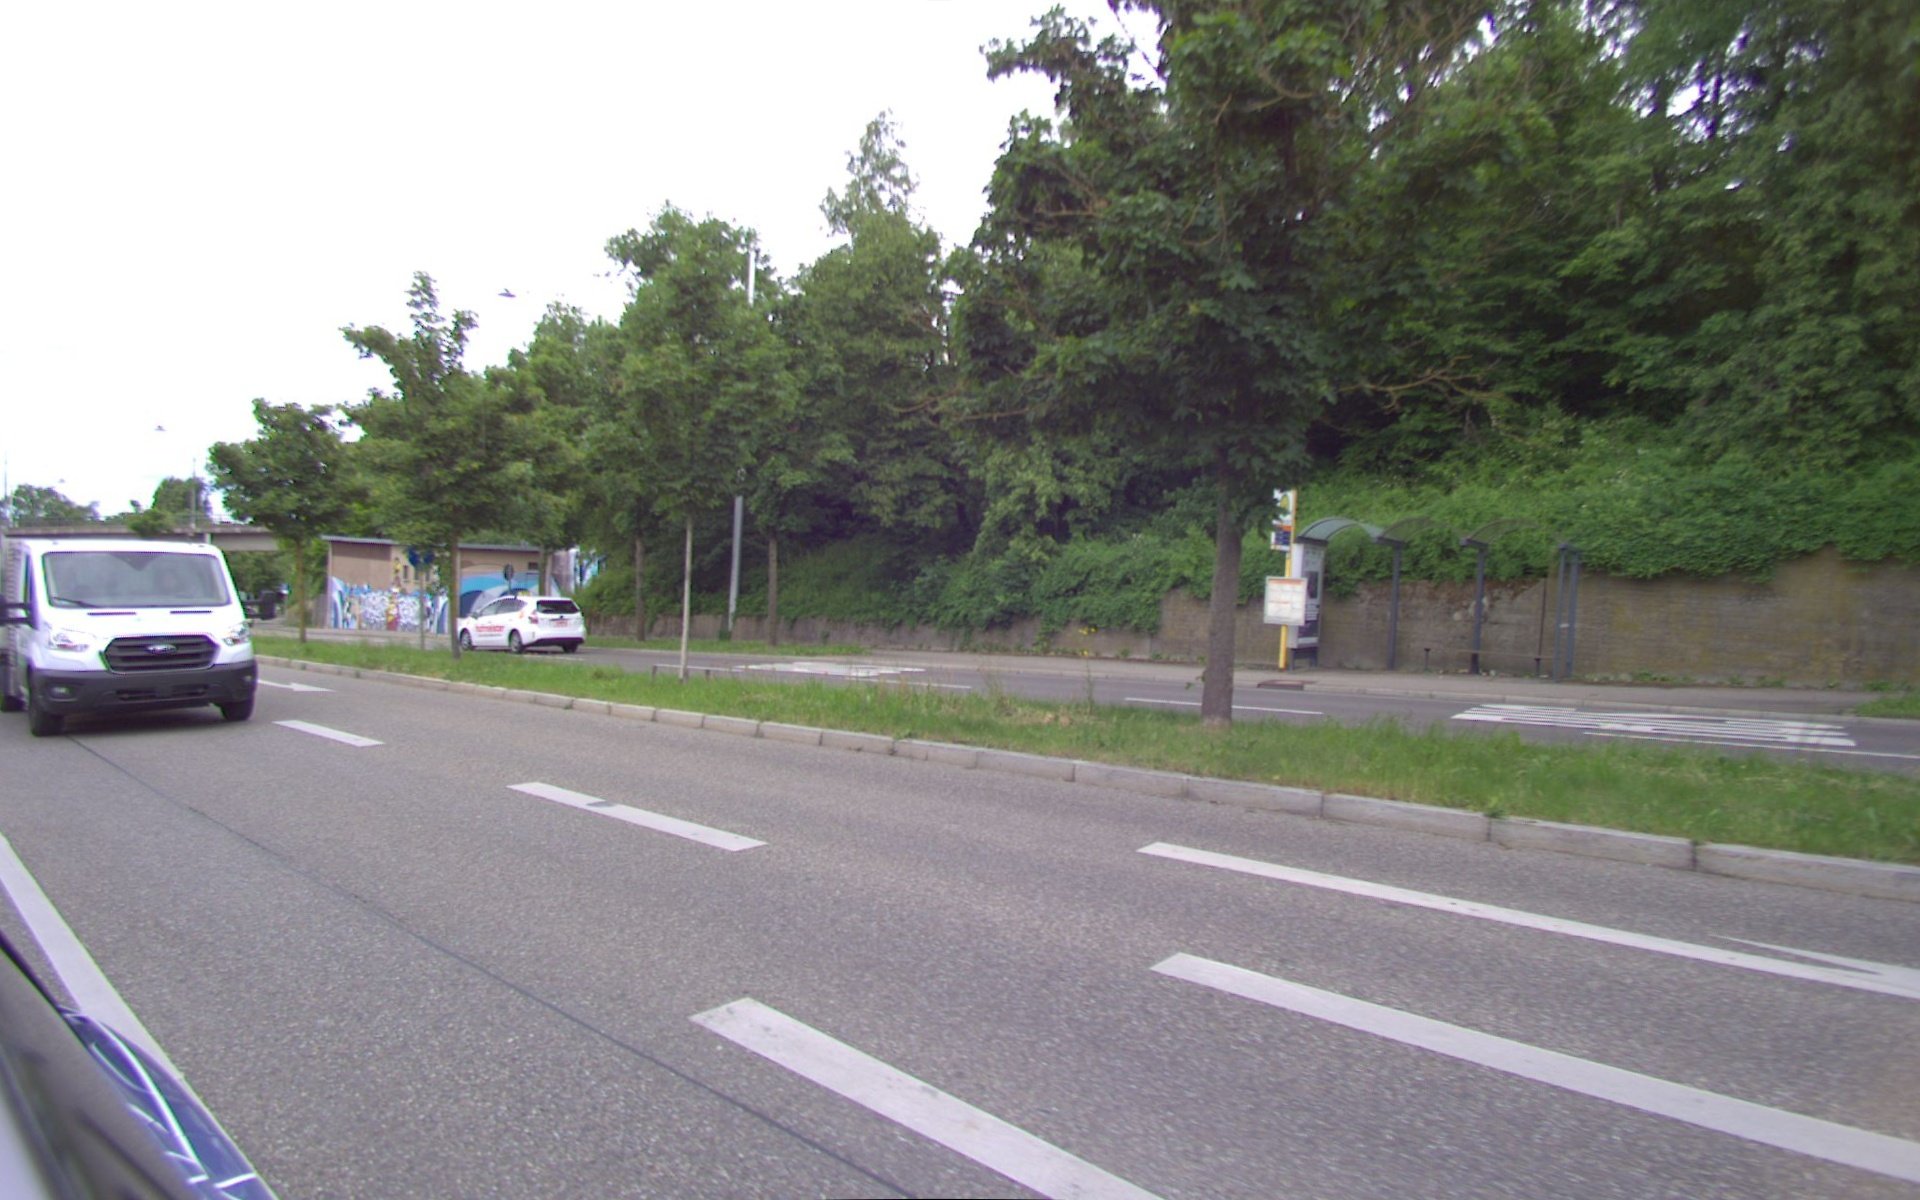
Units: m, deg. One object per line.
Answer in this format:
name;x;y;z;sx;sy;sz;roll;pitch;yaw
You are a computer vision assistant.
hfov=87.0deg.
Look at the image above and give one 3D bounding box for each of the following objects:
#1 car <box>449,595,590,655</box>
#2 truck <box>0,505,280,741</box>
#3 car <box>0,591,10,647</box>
car;-12.452;0.657;28.500;4.453;1.572;1.763;0;0;39
truck;-10.863;0.190;12.842;6.327;2.338;2.054;1;0;40
car;-28.178;0.540;28.295;4.397;1.492;1.891;0;1;41
